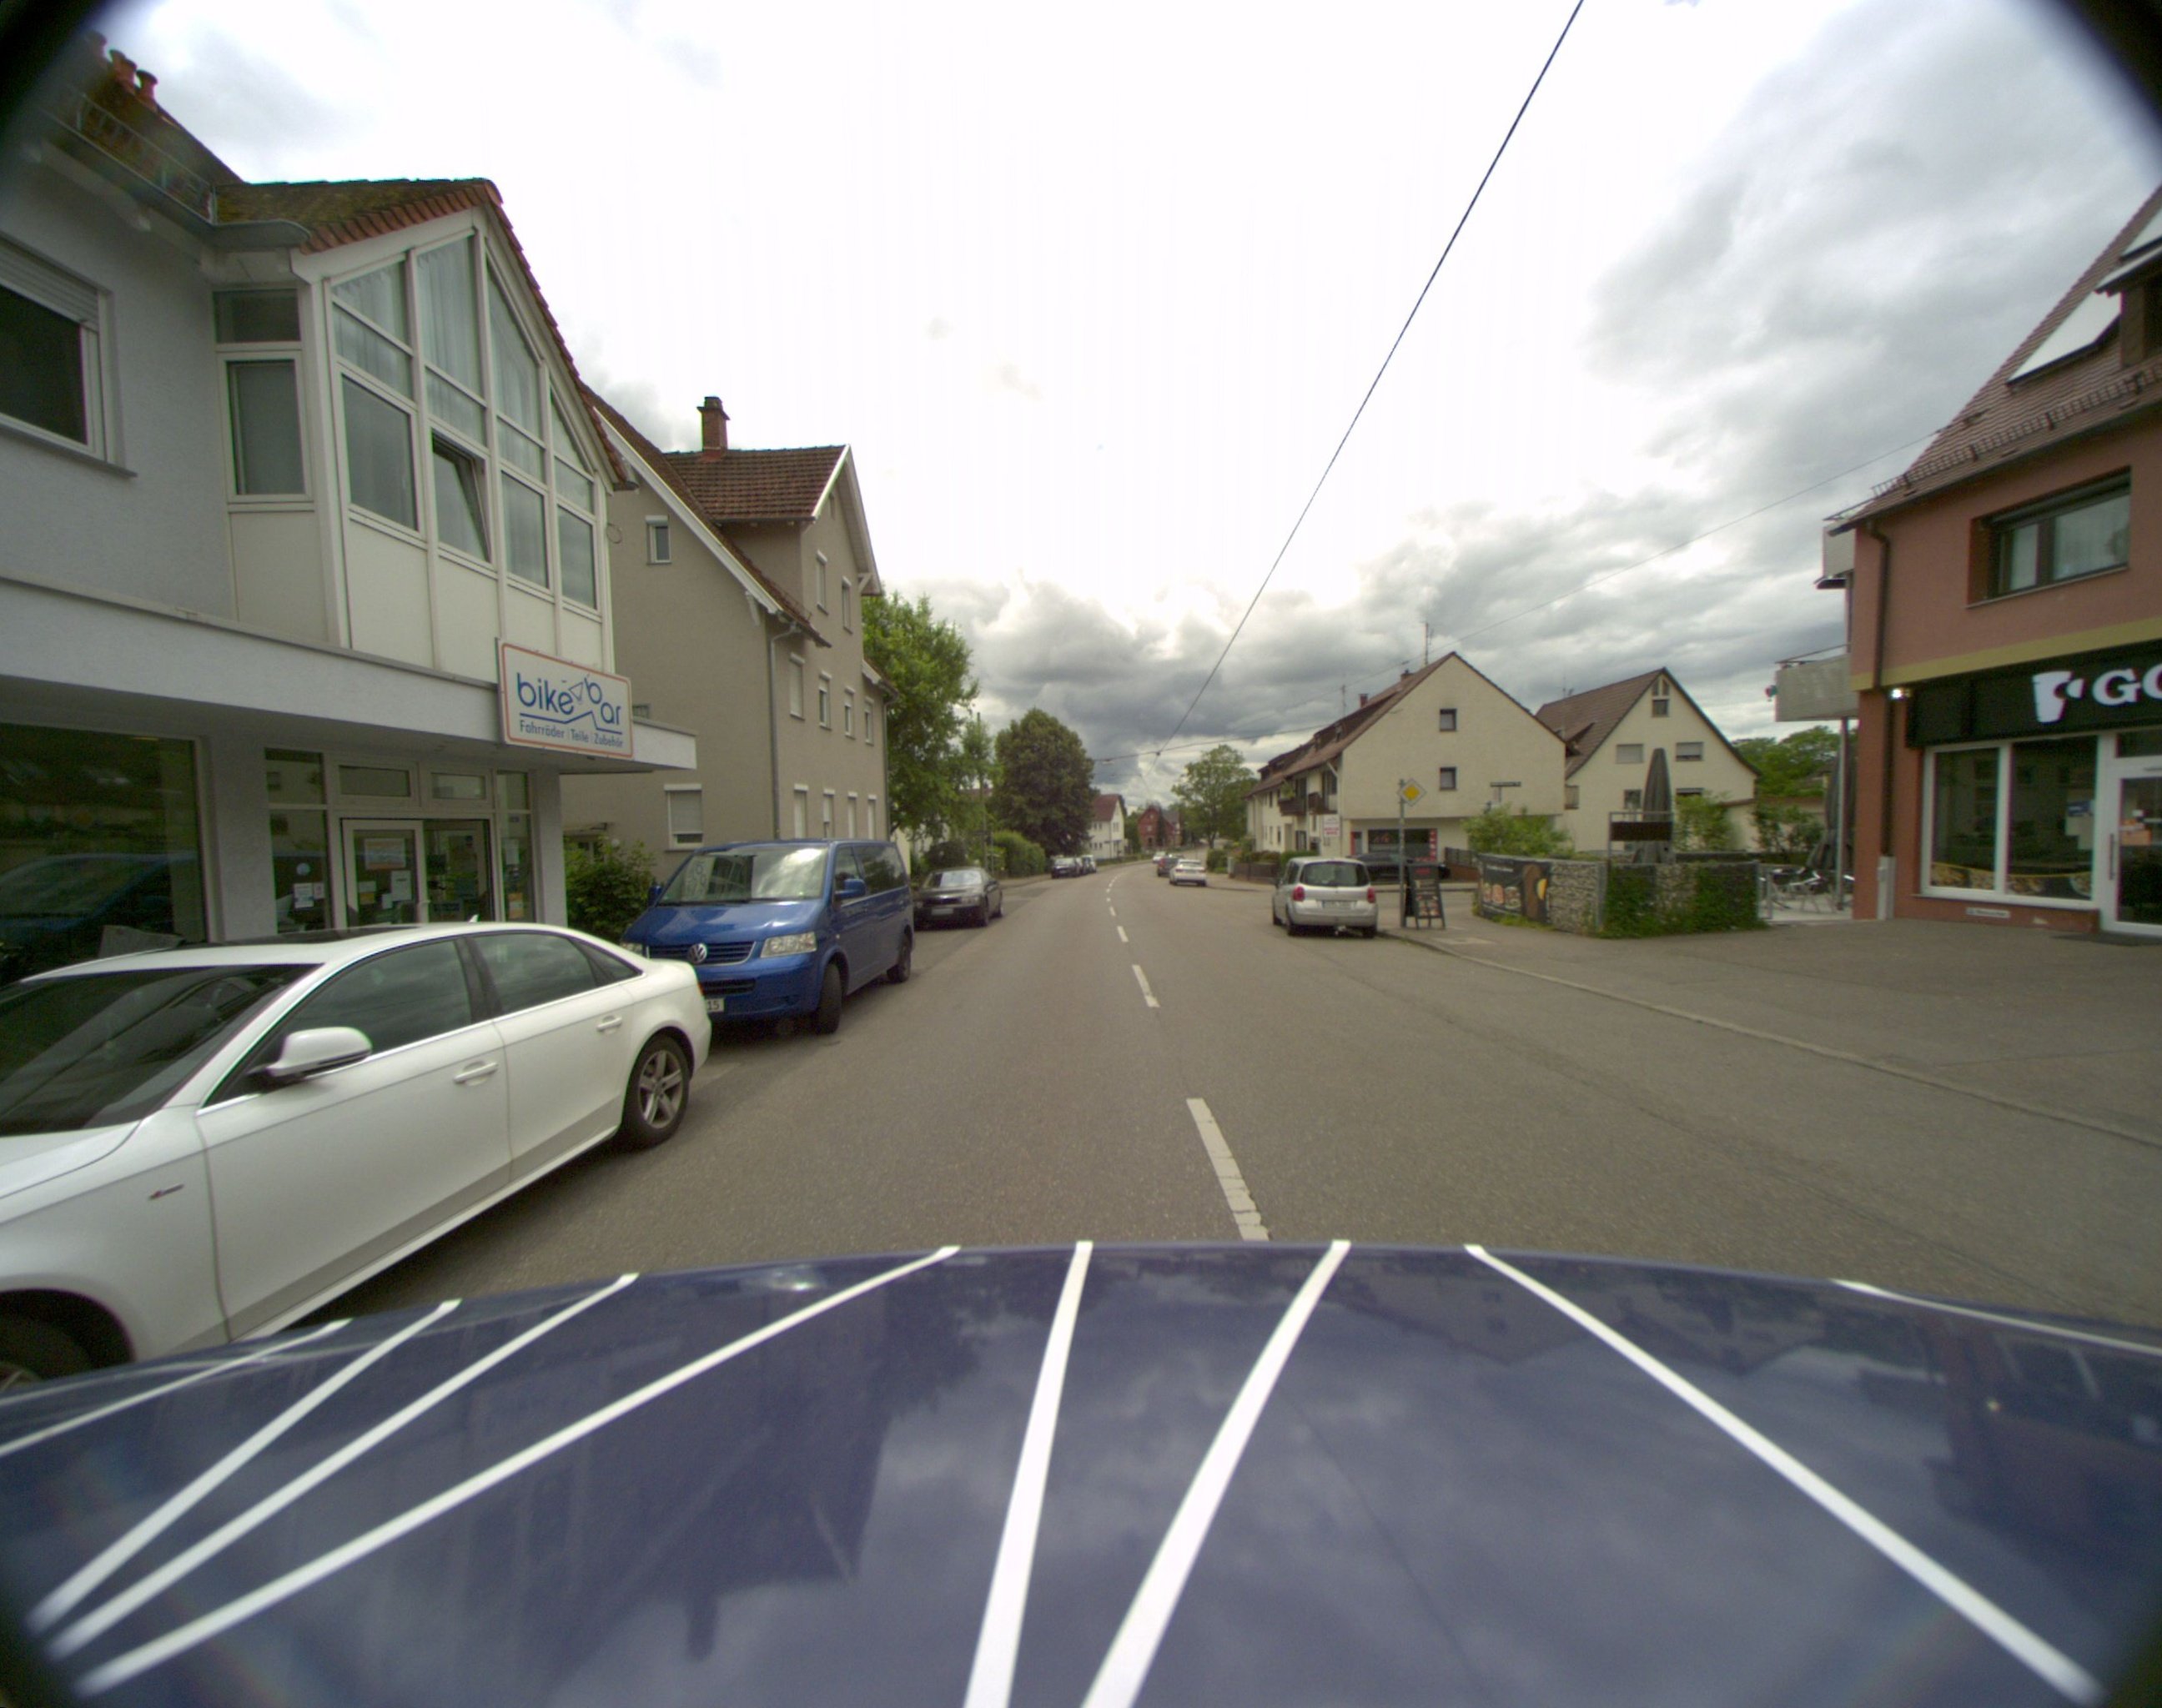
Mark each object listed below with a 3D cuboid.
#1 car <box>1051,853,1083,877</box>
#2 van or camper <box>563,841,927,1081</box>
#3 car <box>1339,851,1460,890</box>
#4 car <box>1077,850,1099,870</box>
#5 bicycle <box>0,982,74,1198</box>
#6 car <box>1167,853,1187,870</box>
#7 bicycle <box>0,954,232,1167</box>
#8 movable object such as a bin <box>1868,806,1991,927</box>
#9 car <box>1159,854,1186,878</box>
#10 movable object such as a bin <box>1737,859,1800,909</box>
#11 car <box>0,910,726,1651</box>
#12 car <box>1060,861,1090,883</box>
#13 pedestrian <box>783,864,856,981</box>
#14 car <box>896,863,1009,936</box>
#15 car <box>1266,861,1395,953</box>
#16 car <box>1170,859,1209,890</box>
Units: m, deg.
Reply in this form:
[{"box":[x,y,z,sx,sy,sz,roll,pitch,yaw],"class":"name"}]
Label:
[{"box":[-0.972,0.794,56.773,1.815,1.606,4.540,-3,1,5],"class":"car"},{"box":[-3.251,0.887,8.671,1.931,1.914,4.830,-2,0,0],"class":"van or camper"},{"box":[13.936,0.708,33.472,4.527,1.463,2.001,-2,0,6],"class":"car"},{"box":[0.705,0.599,75.233,1.842,1.763,4.318,-3,0,4],"class":"car"},{"box":[-6.259,1.311,3.778,0.339,1.107,1.470,0,0,31],"class":"bicycle"},{"box":[10.344,0.759,81.588,1.852,1.704,4.578,1,1,11],"class":"car"},{"box":[-6.392,1.275,4.715,0.339,1.107,1.469,0,0,19],"class":"bicycle"},{"box":[18.089,0.256,16.269,1.281,2.442,1.641,-1,0,30],"class":"movable object such as a bin"},{"box":[6.870,0.889,57.574,1.850,1.670,4.789,2,0,6],"class":"car"},{"box":[15.628,0.664,17.299,0.571,1.103,0.977,-1,0,5],"class":"movable object such as a bin"},{"box":[-3.347,1.144,2.891,1.718,1.427,4.639,-3,0,0],"class":"car"},{"box":[-0.433,1.476,63.002,1.998,1.606,4.540,-3,1,5],"class":"car"},{"box":[-4.052,1.032,11.762,0.870,1.715,0.620,-1,1,36],"class":"pedestrian"},{"box":[-3.202,1.085,19.954,1.998,1.509,4.891,-3,0,1],"class":"car"},{"box":[5.083,0.993,16.043,1.837,1.569,4.034,2,0,8],"class":"car"},{"box":[5.830,1.058,41.190,1.730,1.450,3.899,2,1,3],"class":"car"}]
